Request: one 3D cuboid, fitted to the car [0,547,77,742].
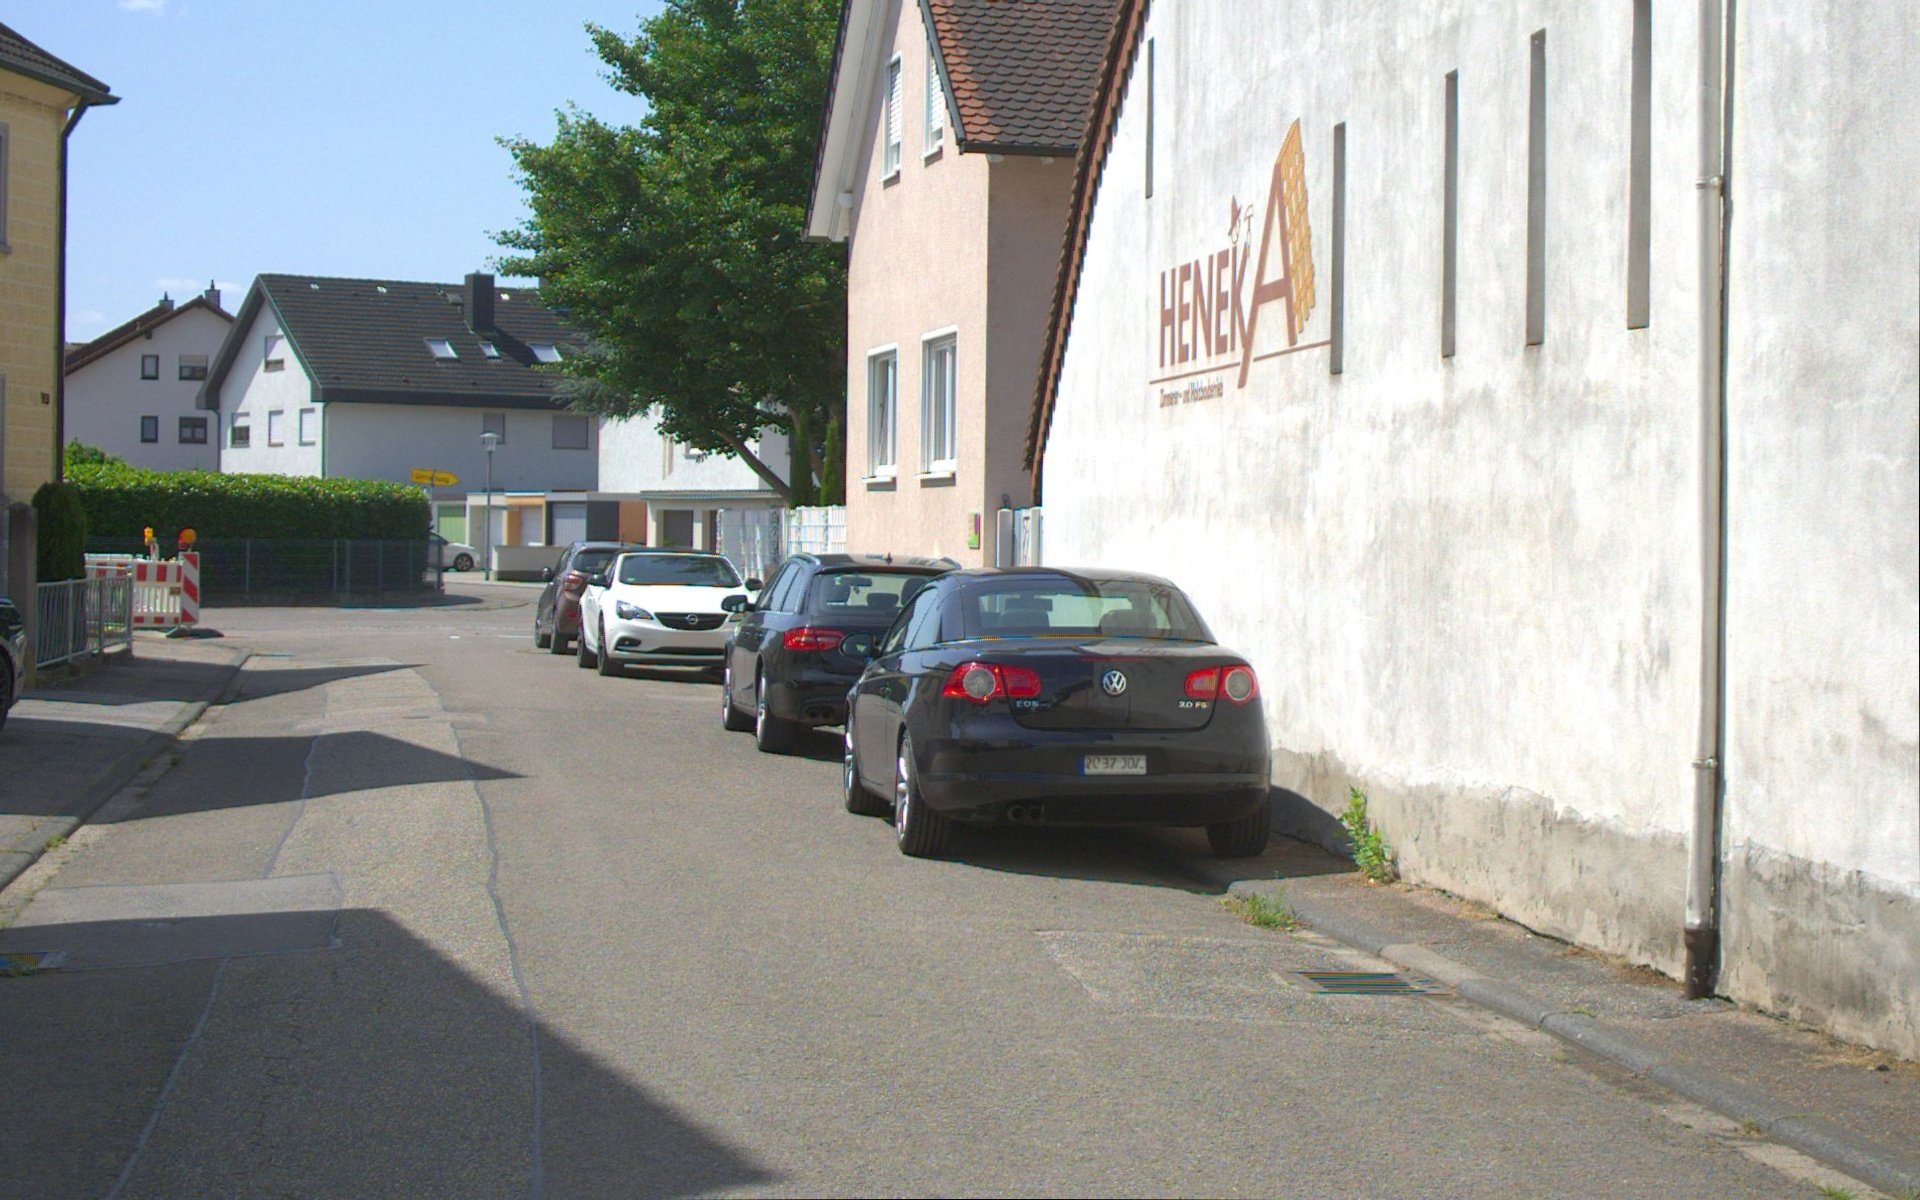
[{"bbox_3d":[-7.637,0.284,22.937,1.770,1.345,4.468,2,0,8],"label":"car"}]

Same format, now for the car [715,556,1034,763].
[{"bbox_3d":[-0.753,0.386,26.011,1.895,1.360,4.738,1,1,-7],"label":"car"}]

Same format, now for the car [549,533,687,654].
[{"bbox_3d":[-4.675,-0.115,46.595,1.712,1.527,4.036,1,1,-7],"label":"car"}]

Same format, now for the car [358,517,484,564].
[{"bbox_3d":[-17.415,-1.916,111.059,3.599,1.403,1.784,1,1,-32],"label":"car"}]

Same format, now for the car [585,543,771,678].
[{"bbox_3d":[-3.327,0.075,39.845,1.895,1.424,4.738,1,1,-7],"label":"car"}]

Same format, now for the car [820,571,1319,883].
[{"bbox_3d":[0.421,0.571,18.012,1.895,1.360,4.415,1,1,-7],"label":"car"}]
